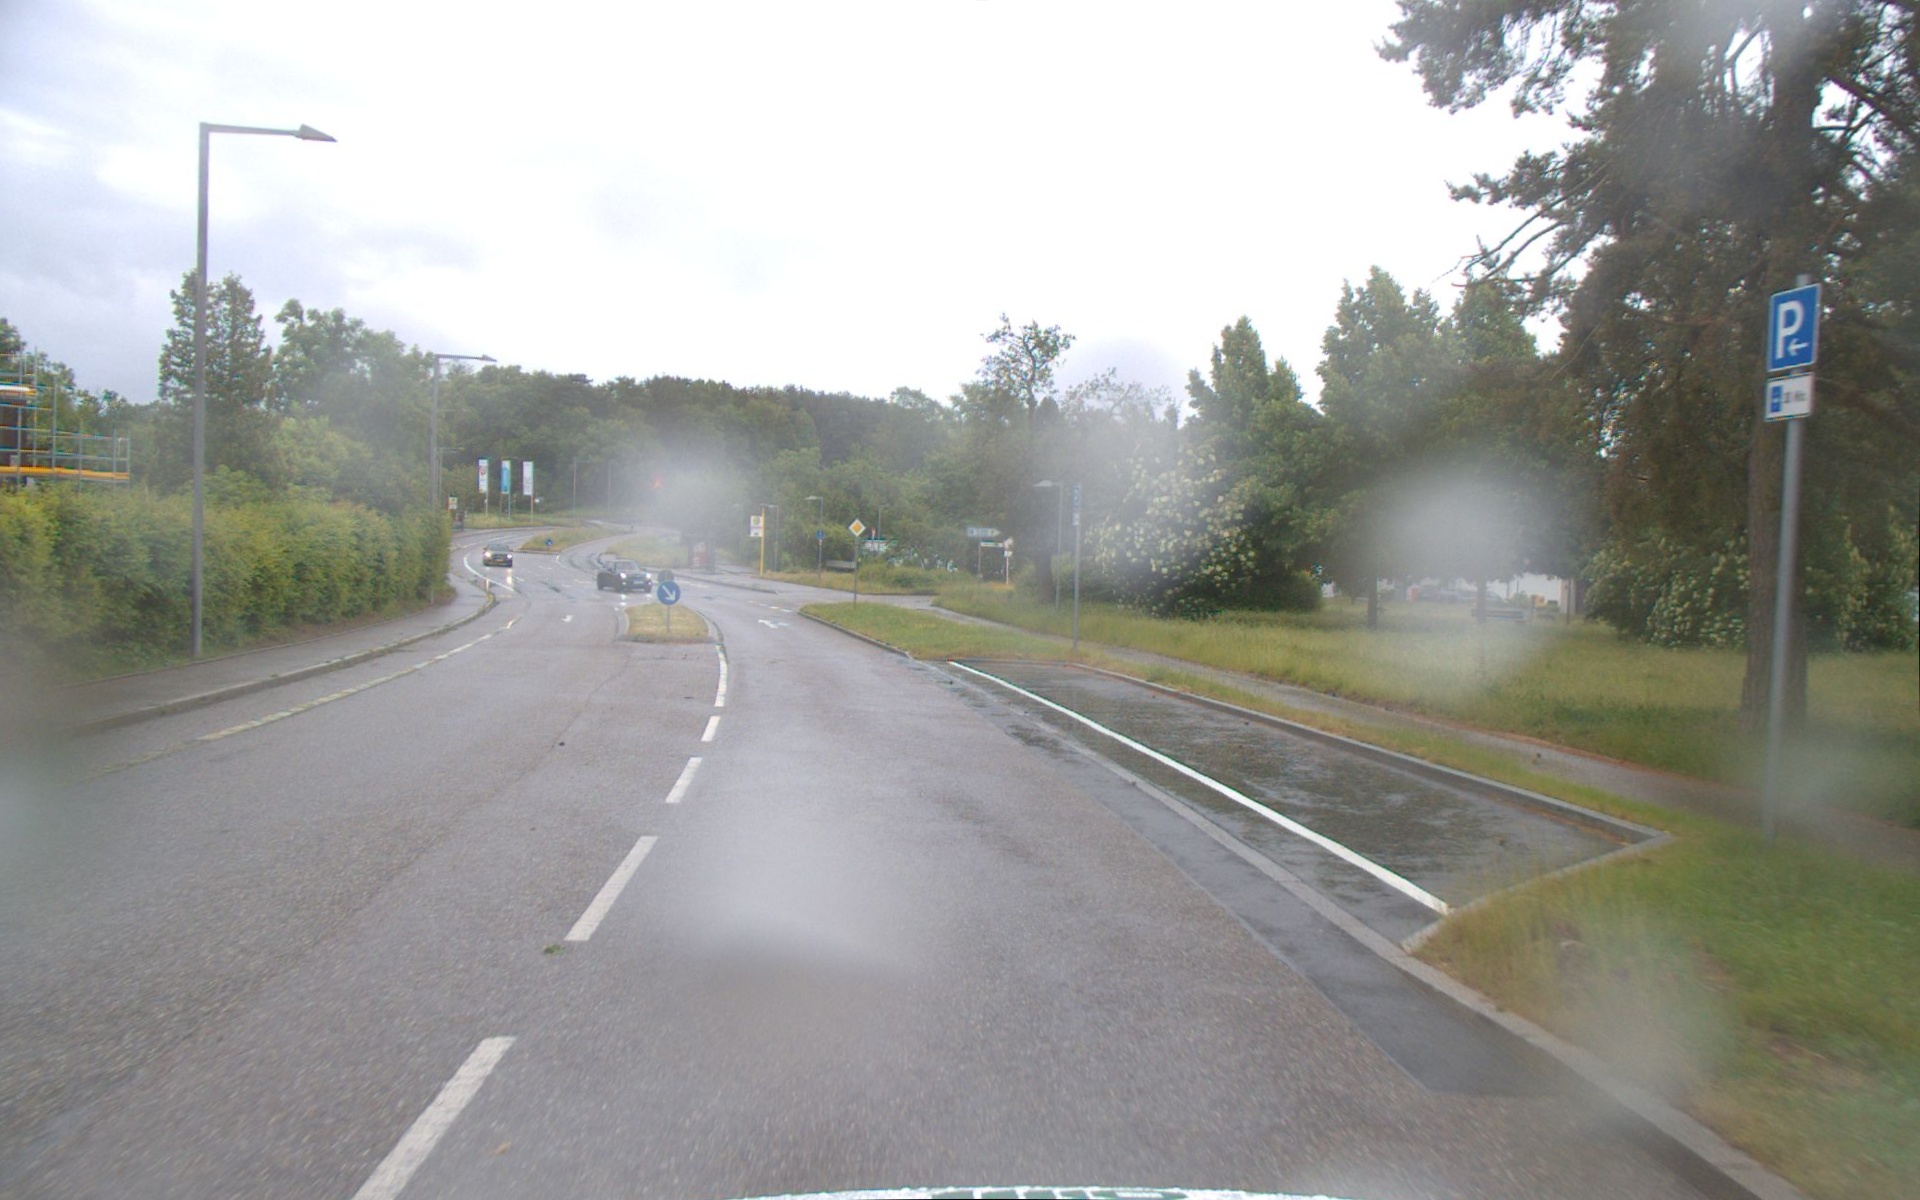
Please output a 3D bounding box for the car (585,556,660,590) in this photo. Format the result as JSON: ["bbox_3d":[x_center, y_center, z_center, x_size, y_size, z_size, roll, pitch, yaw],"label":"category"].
[{"bbox_3d":[-15.989,-1.278,78.247,3.464,1.379,1.454,4,1,36],"label":"car"}]

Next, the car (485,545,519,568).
[{"bbox_3d":[-30.361,-2.907,109.491,1.937,1.438,4.393,-1,2,-18],"label":"car"}]

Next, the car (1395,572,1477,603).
[{"bbox_3d":[28.875,-0.735,100.412,4.482,1.780,1.899,-1,0,45],"label":"car"}]

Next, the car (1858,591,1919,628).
[{"bbox_3d":[40.536,0.396,70.890,1.932,1.489,4.001,-2,0,1],"label":"car"}]
